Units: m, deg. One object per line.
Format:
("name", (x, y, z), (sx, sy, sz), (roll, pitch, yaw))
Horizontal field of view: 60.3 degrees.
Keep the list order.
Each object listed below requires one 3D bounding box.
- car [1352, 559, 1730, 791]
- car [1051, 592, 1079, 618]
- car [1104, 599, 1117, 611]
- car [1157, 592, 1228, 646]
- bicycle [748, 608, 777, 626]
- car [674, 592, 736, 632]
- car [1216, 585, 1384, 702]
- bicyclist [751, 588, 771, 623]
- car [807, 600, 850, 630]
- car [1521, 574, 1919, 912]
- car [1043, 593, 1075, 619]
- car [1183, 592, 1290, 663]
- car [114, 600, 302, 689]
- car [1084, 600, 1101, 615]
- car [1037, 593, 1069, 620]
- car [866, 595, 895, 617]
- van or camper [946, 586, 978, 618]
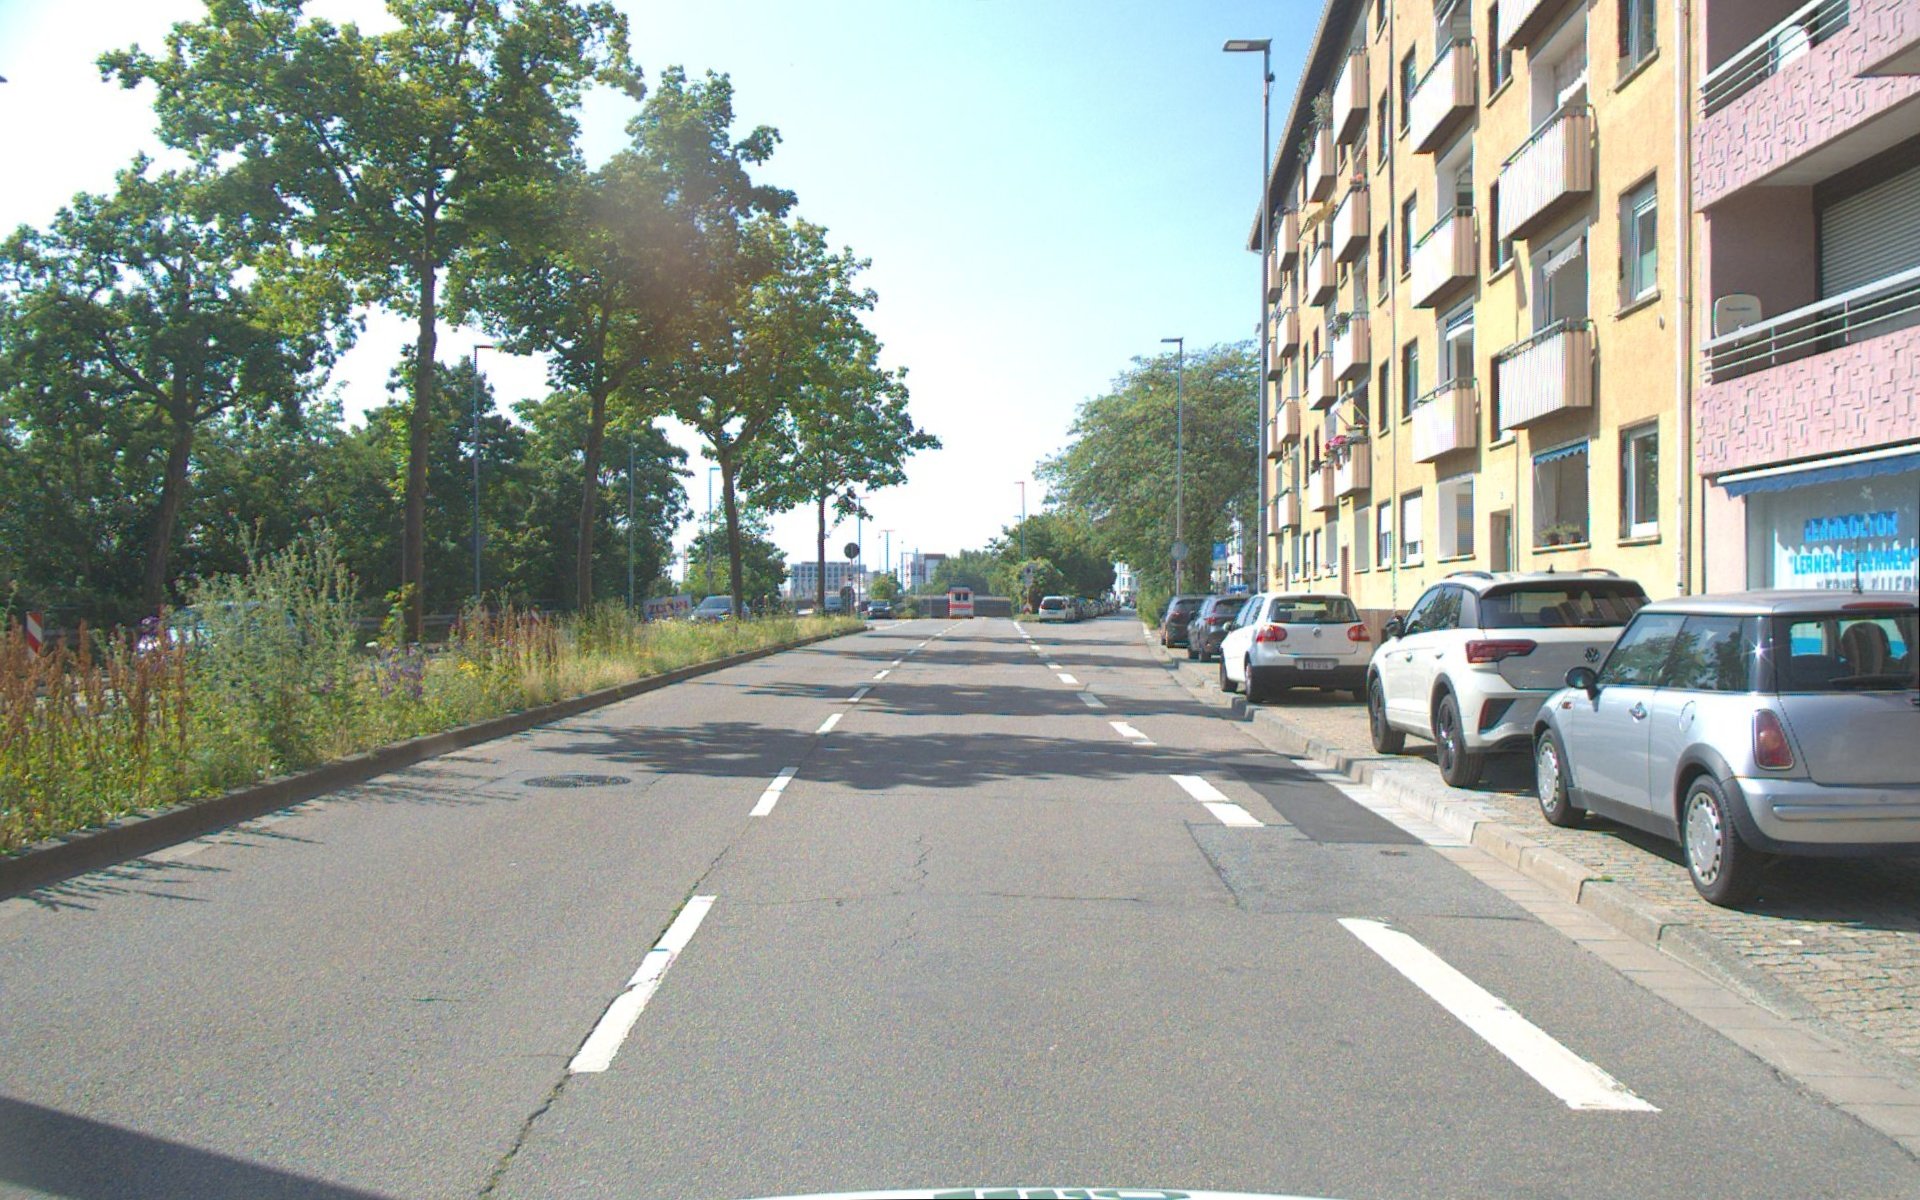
("car", (4.493, 0.512, 13.517), (1.700, 1.568, 4.355), (-1, 0, 2))
("car", (6.679, 0.288, 105.067), (1.734, 1.607, 4.188), (-1, 0, 4))
("car", (22.026, 0.780, 241.988), (1.951, 1.686, 4.002), (0, 0, 5))
("car", (6.732, 0.523, 48.241), (1.675, 1.487, 4.258), (0, 0, 3))
("bicycle", (-10.430, 0.910, 87.463), (0.678, 0.921, 2.344), (-1, 0, 14))
("car", (-10.153, 0.466, 66.182), (1.760, 1.557, 4.001), (0, 0, 1))
("car", (4.818, 0.564, 23.950), (1.720, 1.532, 4.129), (-1, 0, 2))
("bicyclist", (-10.504, 0.291, 87.308), (0.681, 1.864, 1.018), (-1, 0, 14))
("car", (-6.834, 0.778, 86.468), (1.726, 1.500, 4.086), (-2, 0, 3))
("car", (4.380, 0.607, 8.937), (1.643, 1.433, 3.432), (-2, 0, 3))
("car", (5.963, 0.342, 99.601), (1.684, 1.532, 4.135), (-1, 0, 7))
("car", (6.123, 0.566, 37.103), (1.763, 1.463, 4.591), (-1, 0, 2))
("car", (-13.332, 0.741, 29.581), (1.612, 1.441, 3.969), (-1, 0, -2))
("car", (14.369, 0.833, 179.364), (1.628, 1.536, 4.011), (2, 0, 7))
("car", (5.367, 0.355, 94.974), (1.585, 1.532, 3.464), (-1, 0, 7))
("car", (-6.357, 0.477, 132.355), (1.952, 1.764, 4.731), (0, 0, 2))
("van or camper", (0.231, 0.179, 146.728), (2.247, 2.838, 5.575), (0, 0, 6))
